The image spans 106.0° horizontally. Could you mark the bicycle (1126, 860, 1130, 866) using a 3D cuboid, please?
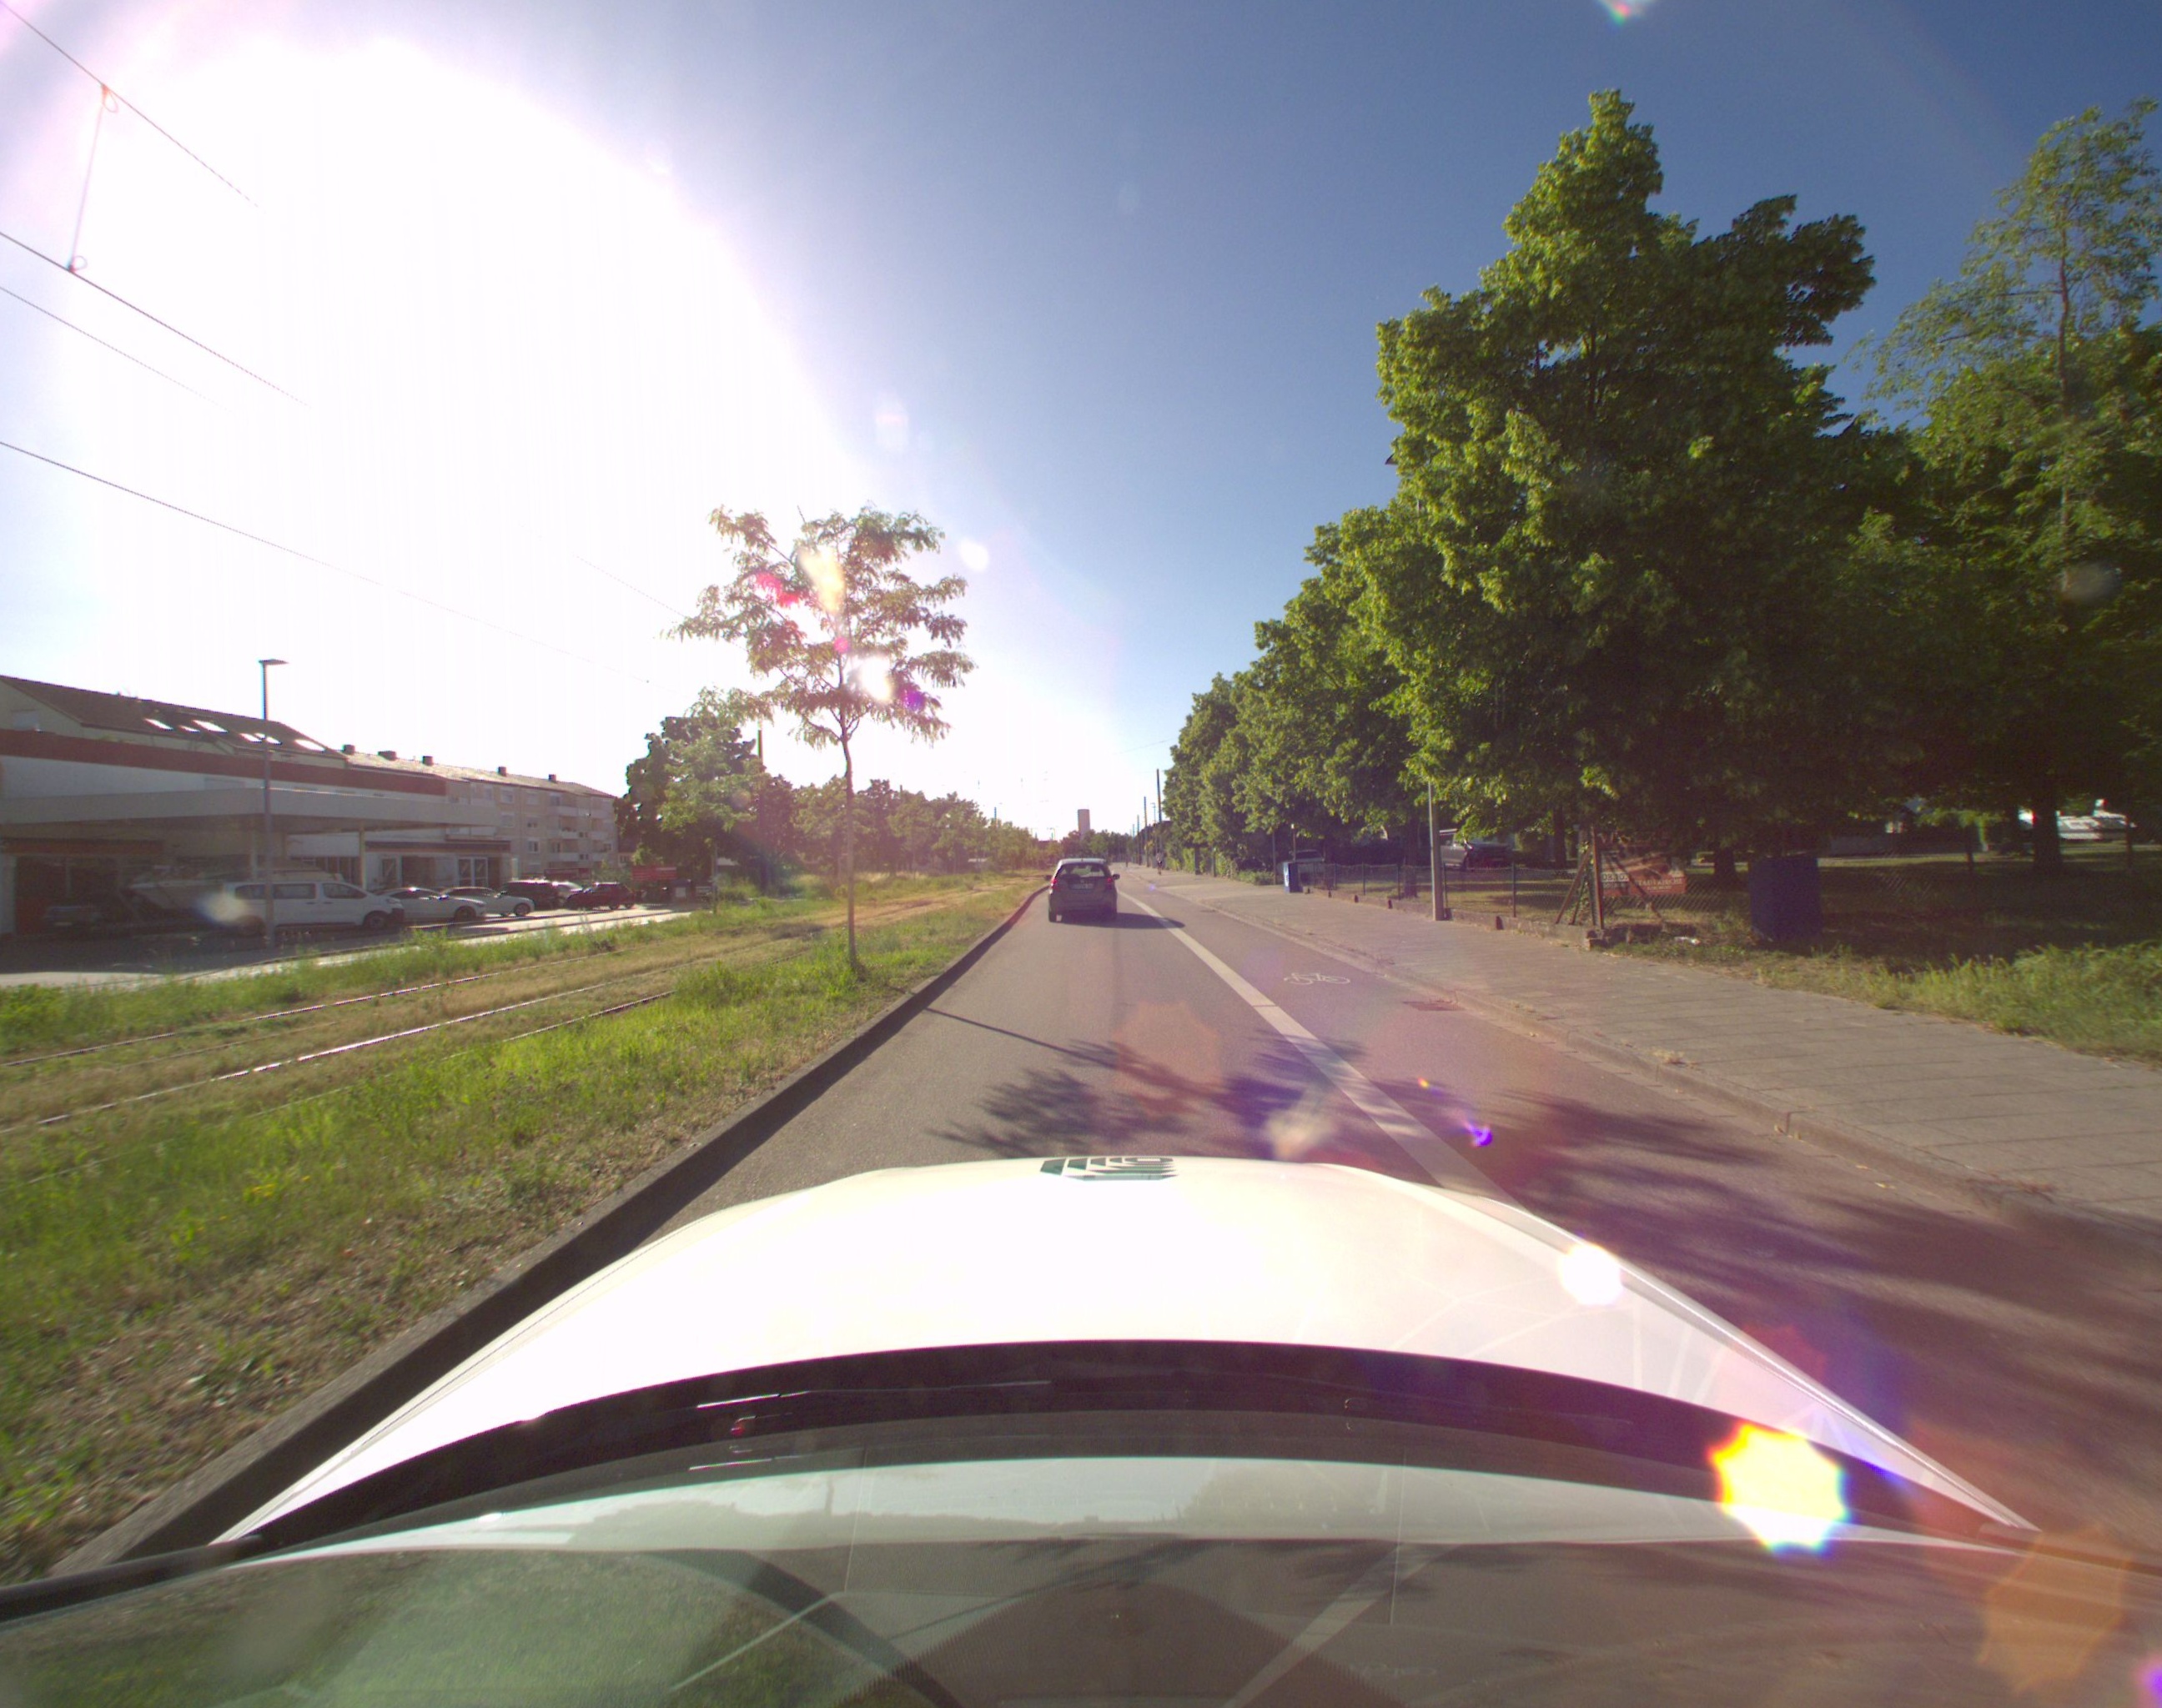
[{"bbox_3d":[9.430,1.748,162.822,0.510,1.241,3.090,-3,-1,1],"label":"bicycle"}]

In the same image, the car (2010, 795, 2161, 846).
[{"bbox_3d":[47.115,-1.476,37.518,2.010,2.039,5.874,-2,-1,2],"label":"car"}]

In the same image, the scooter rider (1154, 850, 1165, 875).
[{"bbox_3d":[6.176,0.691,64.390,0.714,1.901,0.934,-2,-1,0],"label":"scooter rider"}]

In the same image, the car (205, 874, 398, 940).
[{"bbox_3d":[-28.040,1.840,29.450,1.837,1.974,4.817,-3,-1,40],"label":"car"}]

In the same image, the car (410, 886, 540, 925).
[{"bbox_3d":[-28.167,2.357,37.991,1.769,1.471,4.500,-3,-1,32],"label":"car"}]

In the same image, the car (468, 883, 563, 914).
[{"bbox_3d":[-31.789,2.475,45.858,4.058,1.445,1.791,-3,-1,-1],"label":"car"}]

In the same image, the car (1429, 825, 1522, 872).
[{"bbox_3d":[17.992,-0.218,37.479,1.865,1.966,5.169,-2,-1,2],"label":"car"}]

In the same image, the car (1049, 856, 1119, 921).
[{"bbox_3d":[0.075,0.830,20.776,1.619,1.500,3.456,-1,-1,0],"label":"car"}]

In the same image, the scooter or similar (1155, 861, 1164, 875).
[{"bbox_3d":[6.207,1.089,64.204,0.537,1.118,1.417,-3,-1,0],"label":"scooter or similar"}]

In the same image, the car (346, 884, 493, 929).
[{"bbox_3d":[-27.641,2.151,34.146,1.769,1.528,4.499,-3,-1,40],"label":"car"}]

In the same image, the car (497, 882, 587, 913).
[{"bbox_3d":[-32.008,2.568,48.394,4.058,1.568,1.791,-3,-1,-1],"label":"car"}]

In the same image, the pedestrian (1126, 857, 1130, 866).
[{"bbox_3d":[9.394,1.469,162.882,0.719,1.800,1.164,-3,-1,1],"label":"pedestrian"}]

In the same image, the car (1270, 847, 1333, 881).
[{"bbox_3d":[10.193,0.459,37.881,1.769,1.386,3.868,-3,-1,-1],"label":"car"}]

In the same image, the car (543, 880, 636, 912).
[{"bbox_3d":[-27.673,2.351,45.937,4.058,1.568,1.791,-3,-1,-1],"label":"car"}]
